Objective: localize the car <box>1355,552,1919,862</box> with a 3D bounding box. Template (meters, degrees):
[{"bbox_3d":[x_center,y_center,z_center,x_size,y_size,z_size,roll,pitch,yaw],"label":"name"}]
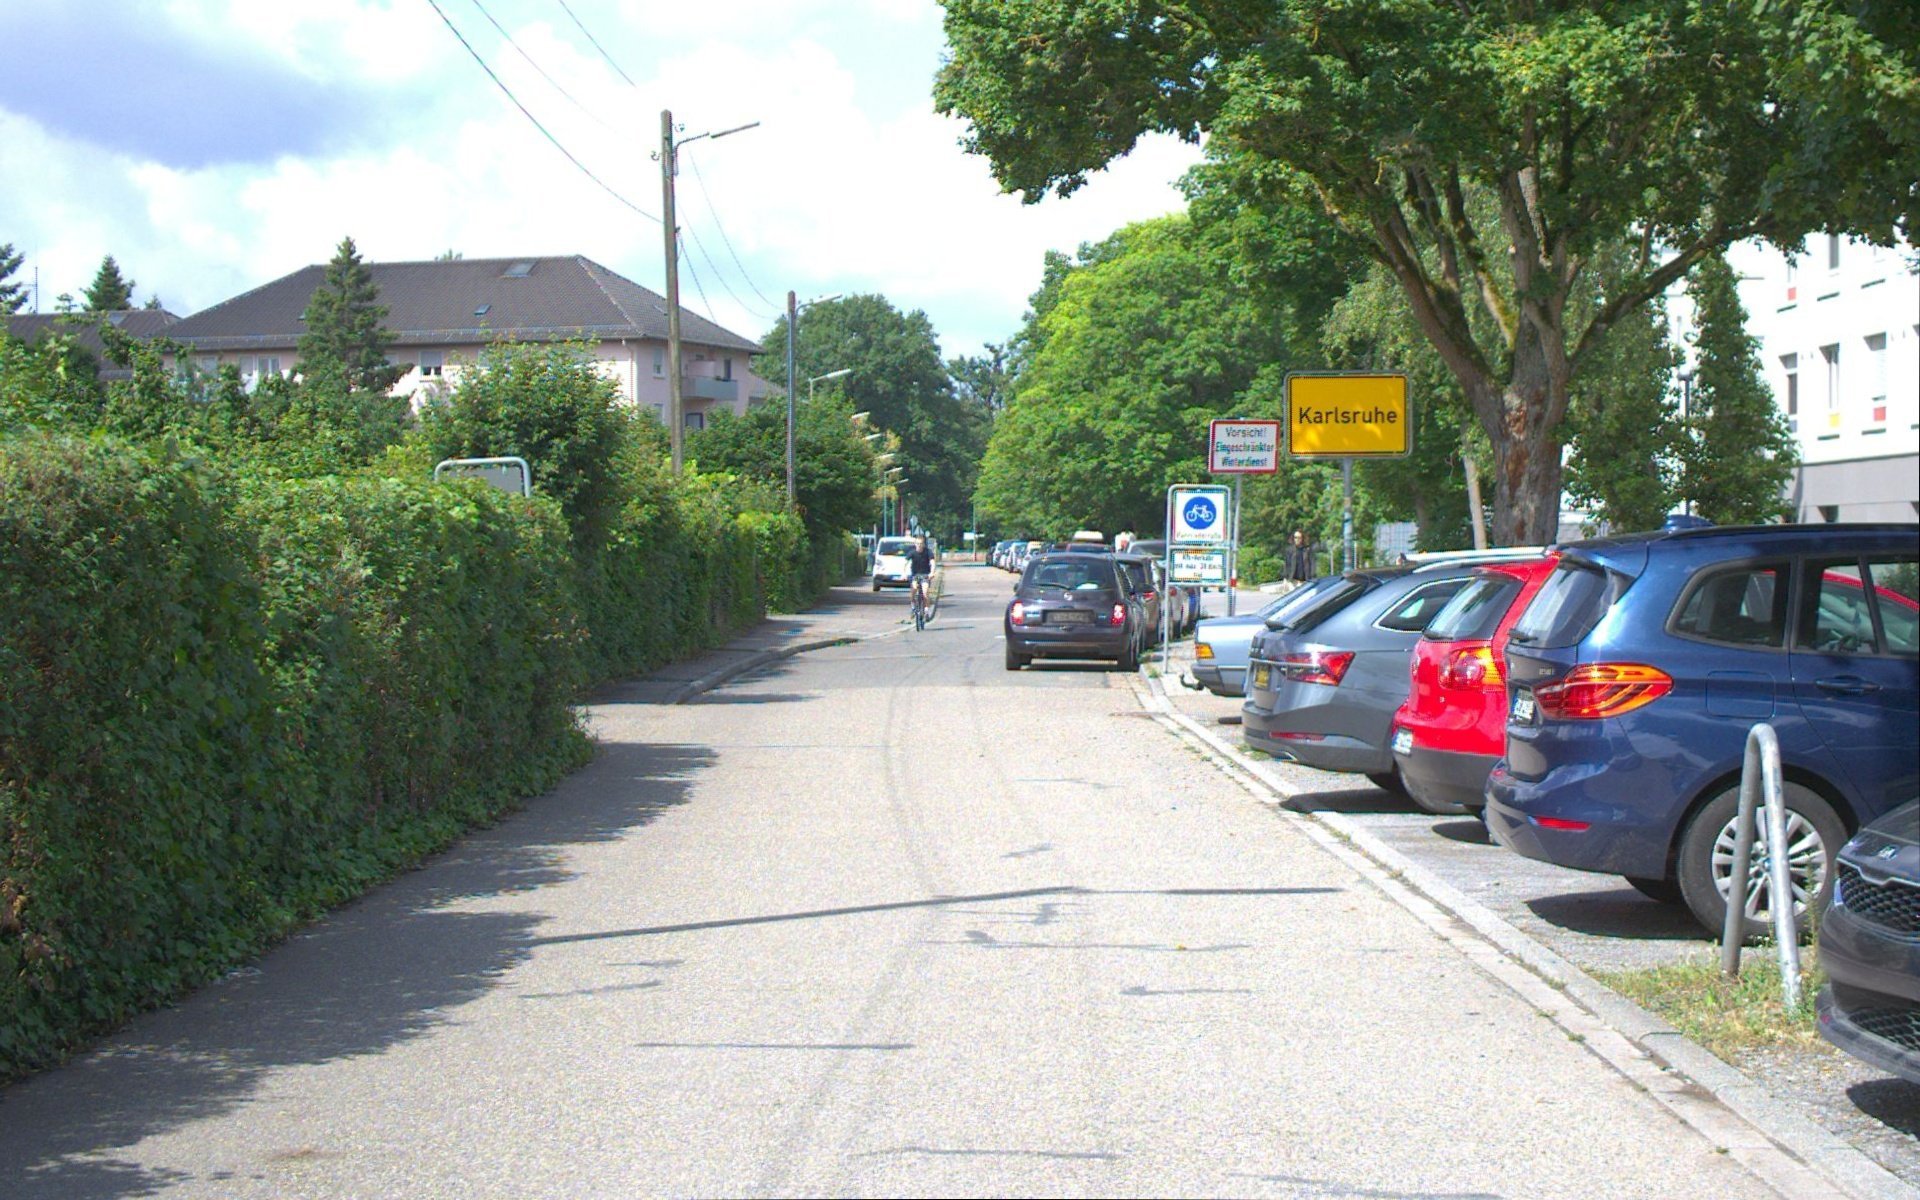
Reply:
[{"bbox_3d":[4.088,0.520,18.079,3.809,1.527,1.762,-1,1,0],"label":"car"}]

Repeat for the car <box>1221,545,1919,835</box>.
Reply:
[{"bbox_3d":[3.930,0.512,20.490,4.548,1.573,1.809,1,1,-1],"label":"car"}]

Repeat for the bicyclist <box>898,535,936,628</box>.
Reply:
[{"bbox_3d":[-0.858,-0.376,68.887,0.659,1.846,1.043,-1,1,2],"label":"bicyclist"}]

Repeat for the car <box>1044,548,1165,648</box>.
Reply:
[{"bbox_3d":[2.396,-0.046,56.355,1.664,1.547,3.636,1,1,7],"label":"car"}]

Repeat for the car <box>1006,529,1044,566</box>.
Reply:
[{"bbox_3d":[3.651,-2.927,193.146,1.993,2.007,4.000,1,1,-1],"label":"car"}]

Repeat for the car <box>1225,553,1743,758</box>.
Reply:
[{"bbox_3d":[4.261,0.432,28.396,3.933,1.554,1.868,1,1,-1],"label":"car"}]

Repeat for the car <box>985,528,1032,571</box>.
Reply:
[{"bbox_3d":[2.317,-2.400,163.335,2.058,1.955,4.540,1,1,2],"label":"car"}]

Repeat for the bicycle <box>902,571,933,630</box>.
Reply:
[{"bbox_3d":[-0.848,0.006,68.956,0.518,1.146,1.827,-1,1,2],"label":"bicycle"}]

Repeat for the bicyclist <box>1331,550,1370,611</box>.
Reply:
[{"bbox_3d":[11.515,-0.563,101.315,0.786,1.779,0.892,2,1,32],"label":"bicyclist"}]

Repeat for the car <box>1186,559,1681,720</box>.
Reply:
[{"bbox_3d":[4.270,0.346,31.505,4.359,1.387,1.718,-1,0,4],"label":"car"}]

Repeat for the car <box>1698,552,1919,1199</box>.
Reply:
[{"bbox_3d":[4.300,0.666,8.845,4.335,1.487,1.976,1,1,-1],"label":"car"}]

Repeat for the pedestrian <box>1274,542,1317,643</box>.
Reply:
[{"bbox_3d":[5.860,-0.141,59.979,0.610,1.739,0.721,1,1,14],"label":"pedestrian"}]

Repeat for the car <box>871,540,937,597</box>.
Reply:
[{"bbox_3d":[-1.844,-1.060,113.762,1.903,1.808,4.000,1,1,2],"label":"car"}]

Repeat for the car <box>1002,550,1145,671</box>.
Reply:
[{"bbox_3d":[1.538,0.111,45.364,1.663,1.501,3.999,1,1,5],"label":"car"}]

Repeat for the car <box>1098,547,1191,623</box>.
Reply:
[{"bbox_3d":[3.593,-0.310,67.449,1.663,1.430,3.542,1,1,1],"label":"car"}]

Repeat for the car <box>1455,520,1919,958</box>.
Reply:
[{"bbox_3d":[4.196,0.498,13.825,4.155,1.632,1.879,-1,1,1],"label":"car"}]

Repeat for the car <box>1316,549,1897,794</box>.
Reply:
[{"bbox_3d":[4.349,0.463,23.475,3.573,1.544,1.667,1,1,-3],"label":"car"}]

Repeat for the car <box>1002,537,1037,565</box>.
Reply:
[{"bbox_3d":[3.608,-2.948,208.046,1.852,1.612,3.999,1,1,5],"label":"car"}]
